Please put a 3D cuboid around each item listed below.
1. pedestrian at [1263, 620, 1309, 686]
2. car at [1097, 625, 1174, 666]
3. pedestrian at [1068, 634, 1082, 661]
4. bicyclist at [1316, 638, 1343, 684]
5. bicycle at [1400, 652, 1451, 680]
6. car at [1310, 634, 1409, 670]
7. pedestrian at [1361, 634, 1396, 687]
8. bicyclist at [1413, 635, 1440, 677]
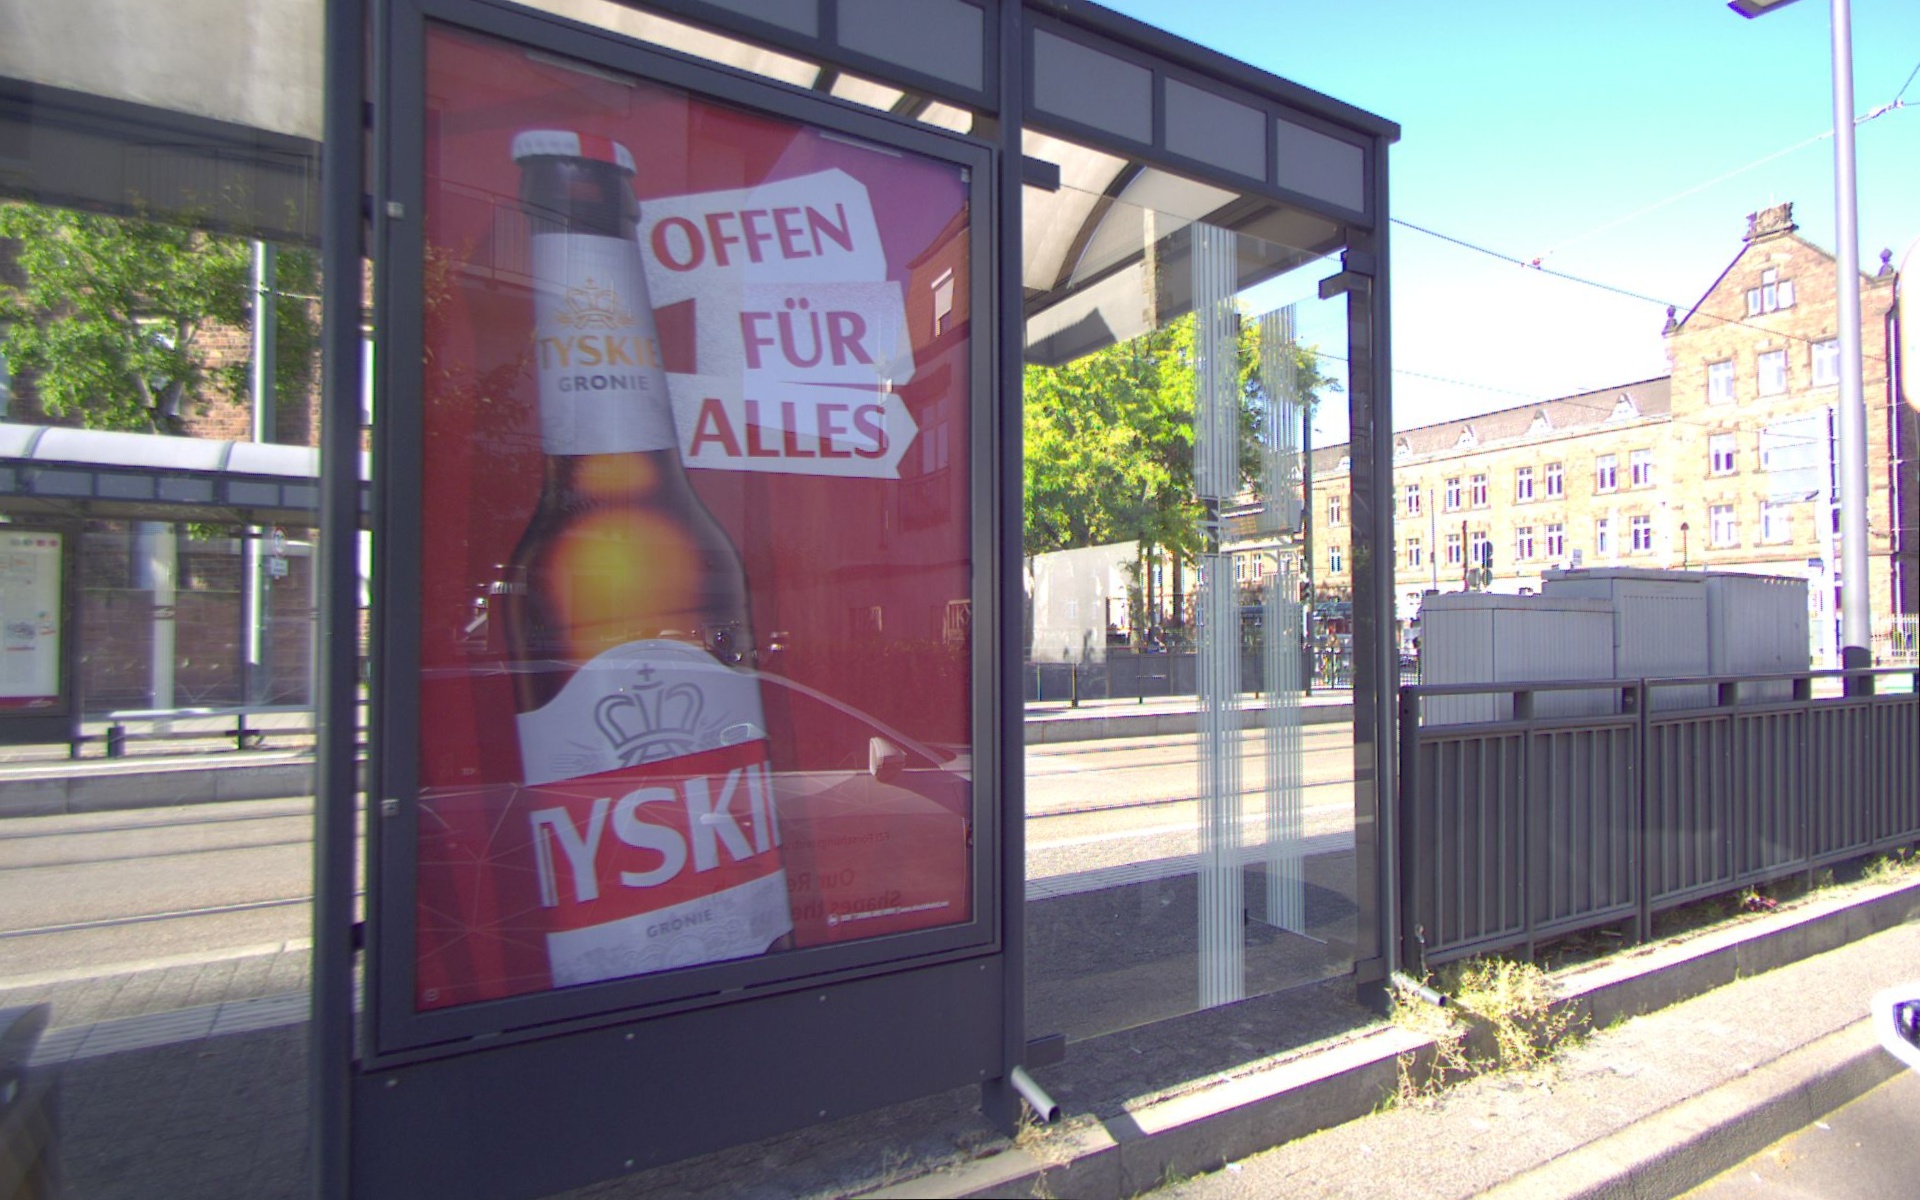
[{"bbox_3d":[9.507,1.535,29.312,1.082,1.885,0.724,1,-2,-27],"label":"pedestrian"},{"bbox_3d":[11.207,2.880,64.418,2.234,2.485,5.006,1,-2,-30],"label":"car"},{"bbox_3d":[7.075,2.918,62.009,0.532,1.619,0.712,1,-2,-28],"label":"pedestrian"},{"bbox_3d":[11.500,1.882,31.291,0.679,1.402,0.532,0,-2,35],"label":"bicyclist"},{"bbox_3d":[18.484,2.596,39.887,0.792,1.027,1.727,1,-2,-29],"label":"bicycle"},{"bbox_3d":[18.318,2.375,46.272,1.853,1.542,4.050,1,-2,-27],"label":"car"},{"bbox_3d":[12.932,1.865,31.051,0.816,1.590,0.574,0,-1,-9],"label":"pedestrian"},{"bbox_3d":[18.512,2.225,39.852,0.792,1.657,0.631,1,-2,-29],"label":"bicyclist"}]
